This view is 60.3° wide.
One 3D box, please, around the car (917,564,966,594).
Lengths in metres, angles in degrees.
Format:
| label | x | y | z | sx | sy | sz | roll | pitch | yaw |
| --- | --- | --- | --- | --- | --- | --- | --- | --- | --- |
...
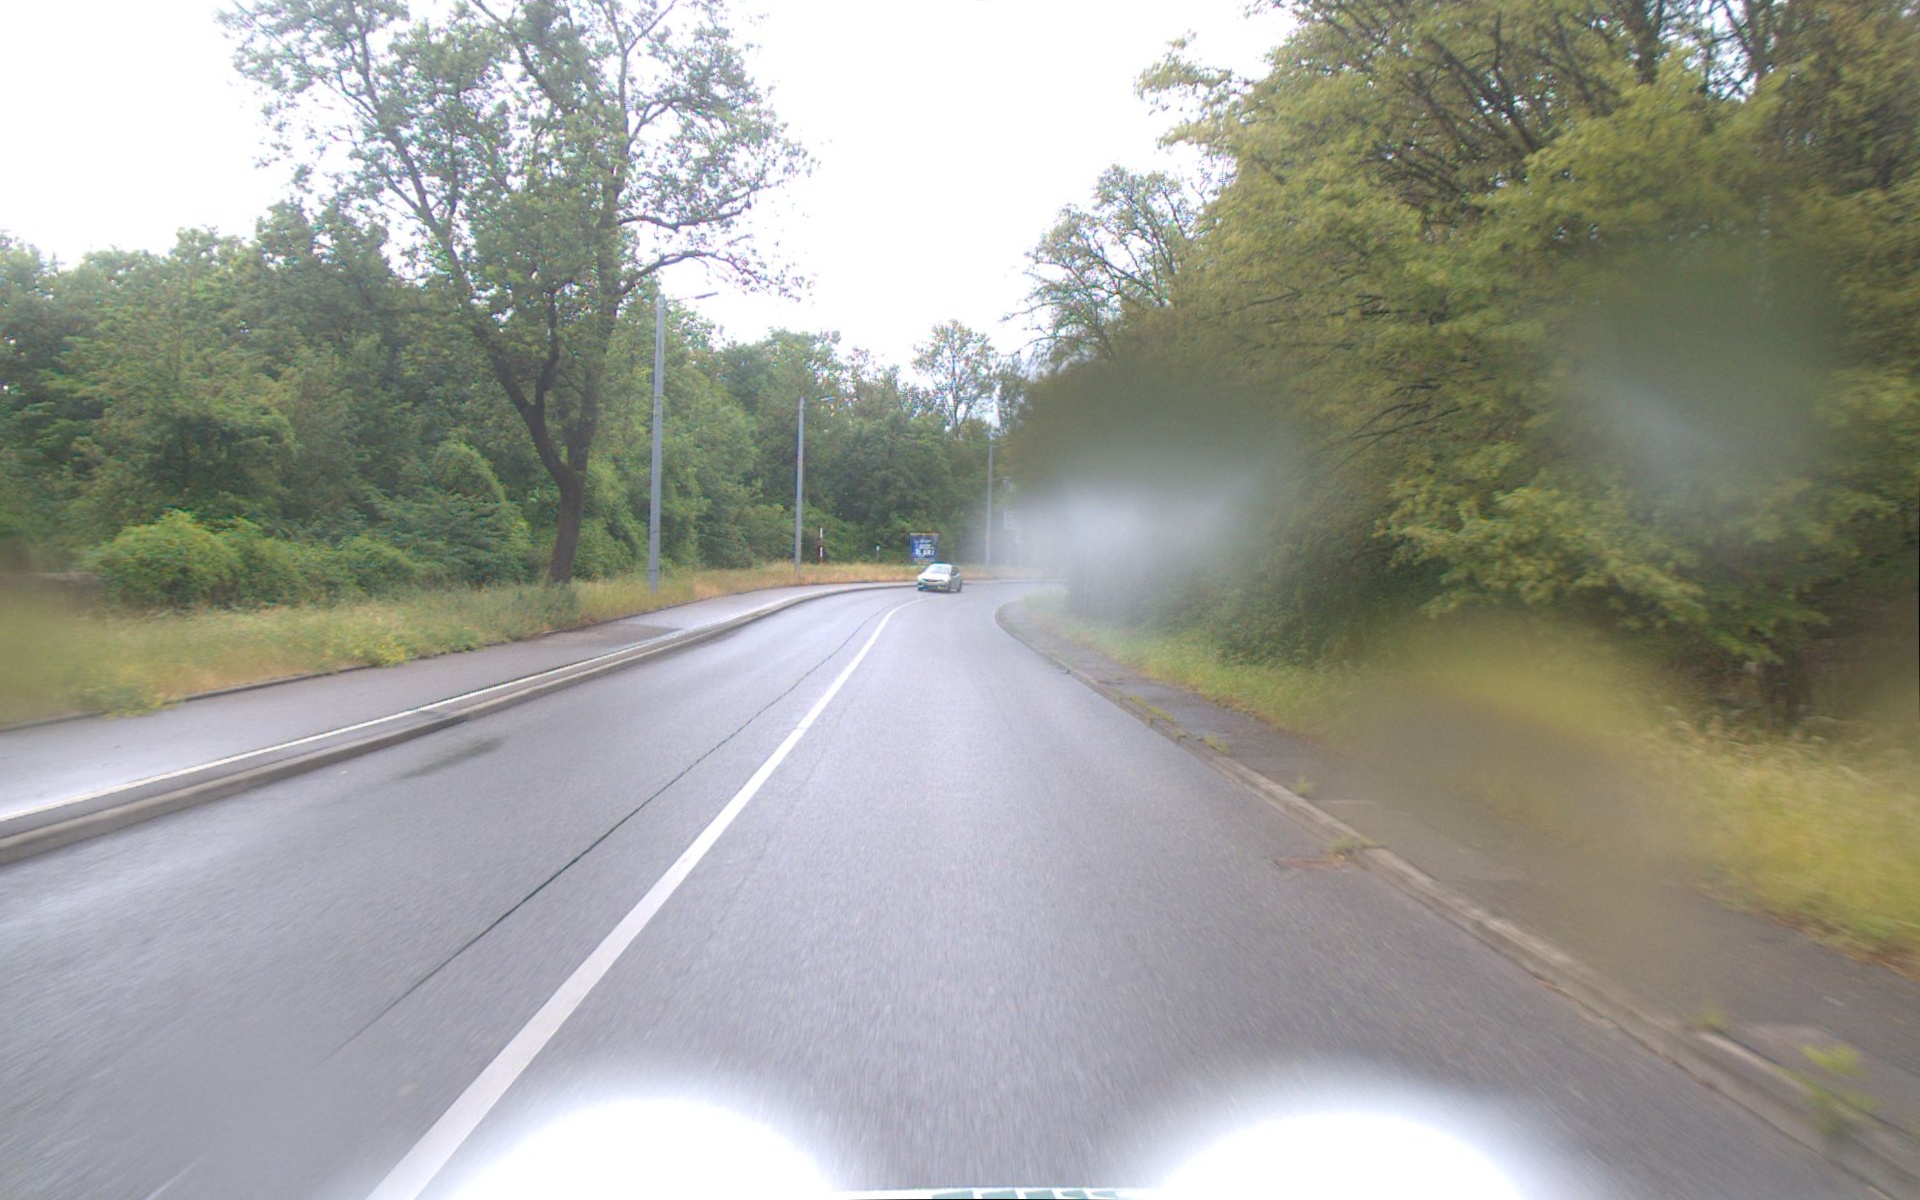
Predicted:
| label | x | y | z | sx | sy | sz | roll | pitch | yaw |
| --- | --- | --- | --- | --- | --- | --- | --- | --- | --- |
| car | -0.998 | -1.176 | 90.594 | 1.743 | 1.455 | 4.479 | 5 | 3 | 10 |
